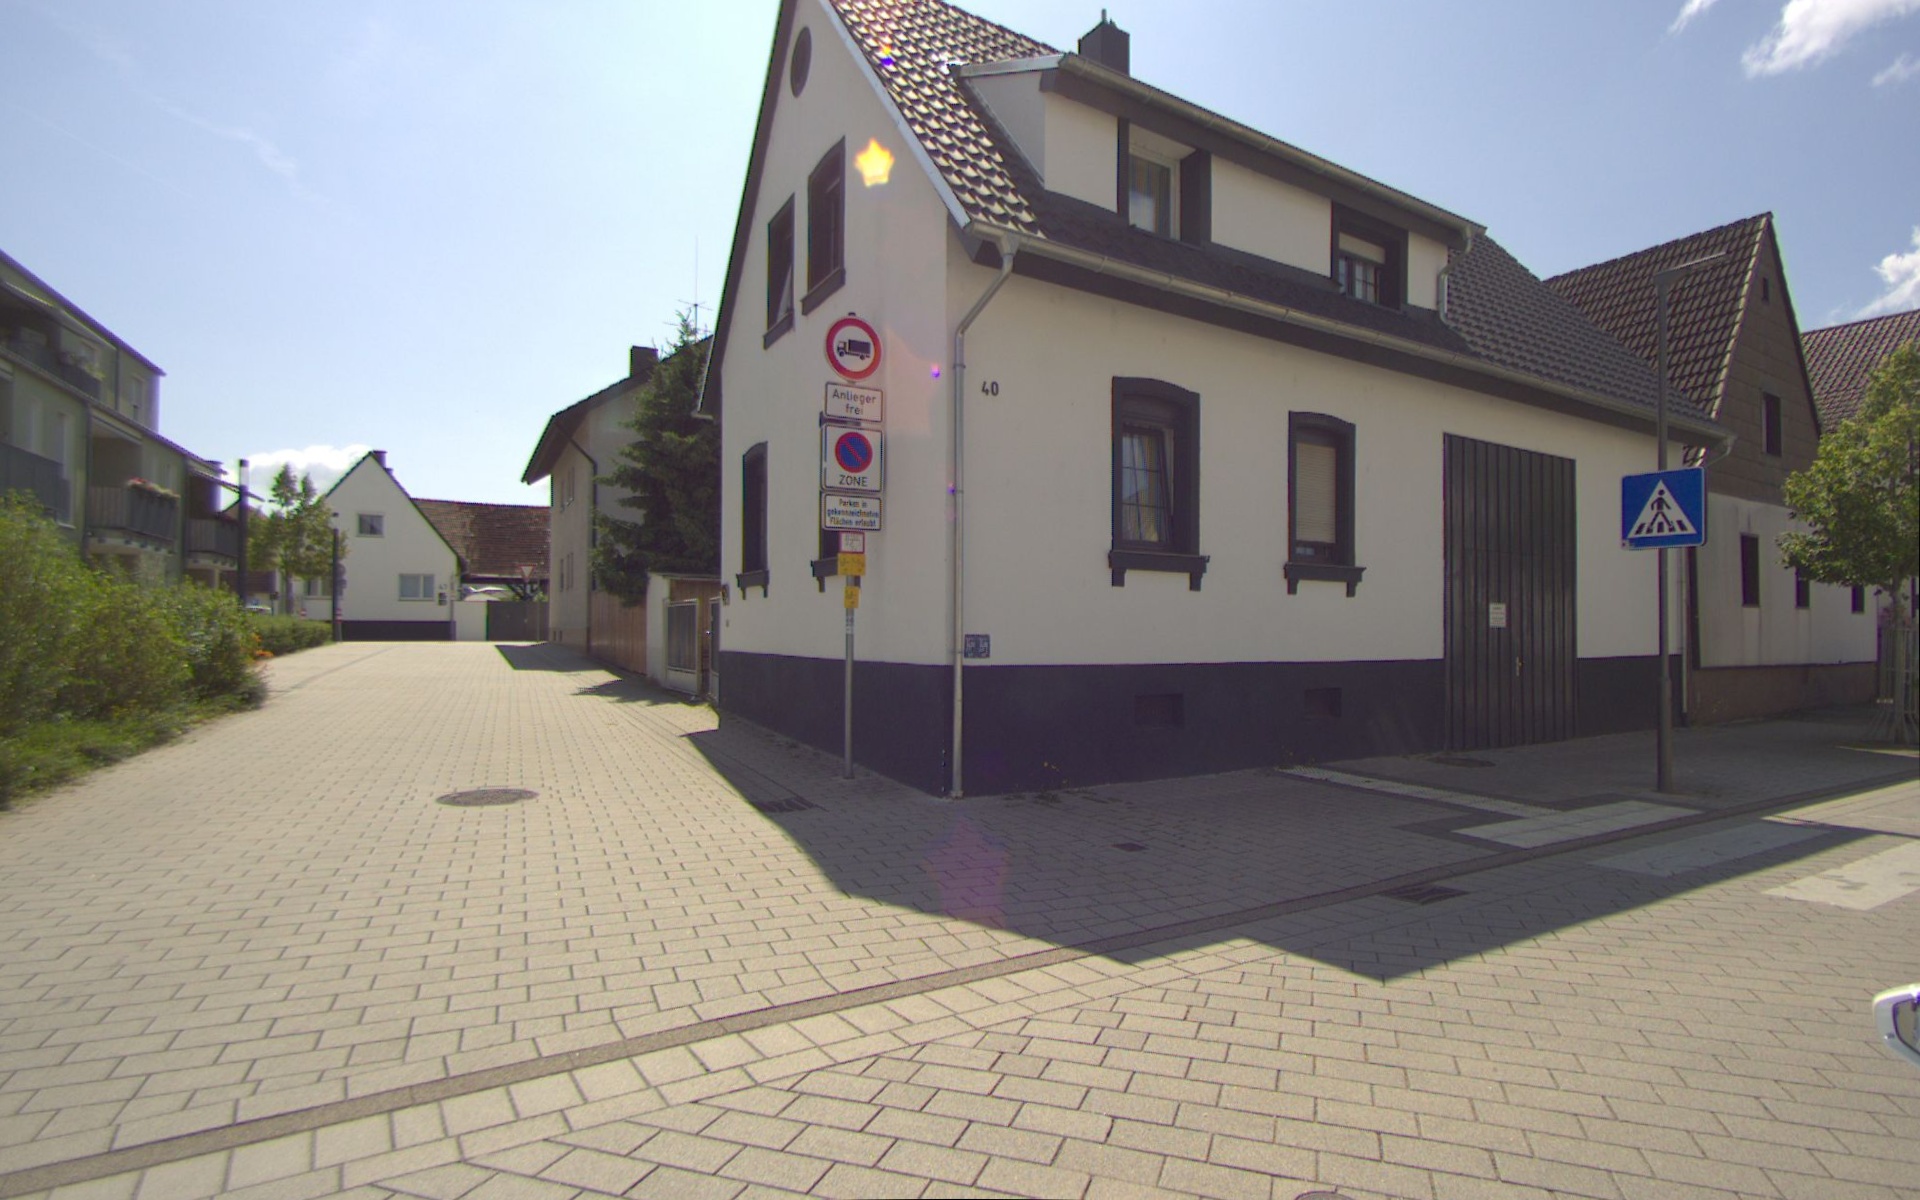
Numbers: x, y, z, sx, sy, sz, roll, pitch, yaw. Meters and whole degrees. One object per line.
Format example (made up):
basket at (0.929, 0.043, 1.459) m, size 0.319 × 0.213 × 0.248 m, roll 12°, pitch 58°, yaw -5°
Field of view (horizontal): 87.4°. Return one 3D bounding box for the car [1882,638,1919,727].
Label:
car at (18.761, 1.507, 18.522) m, size 3.959 × 1.550 × 1.736 m, roll 1°, pitch -1°, yaw -34°
